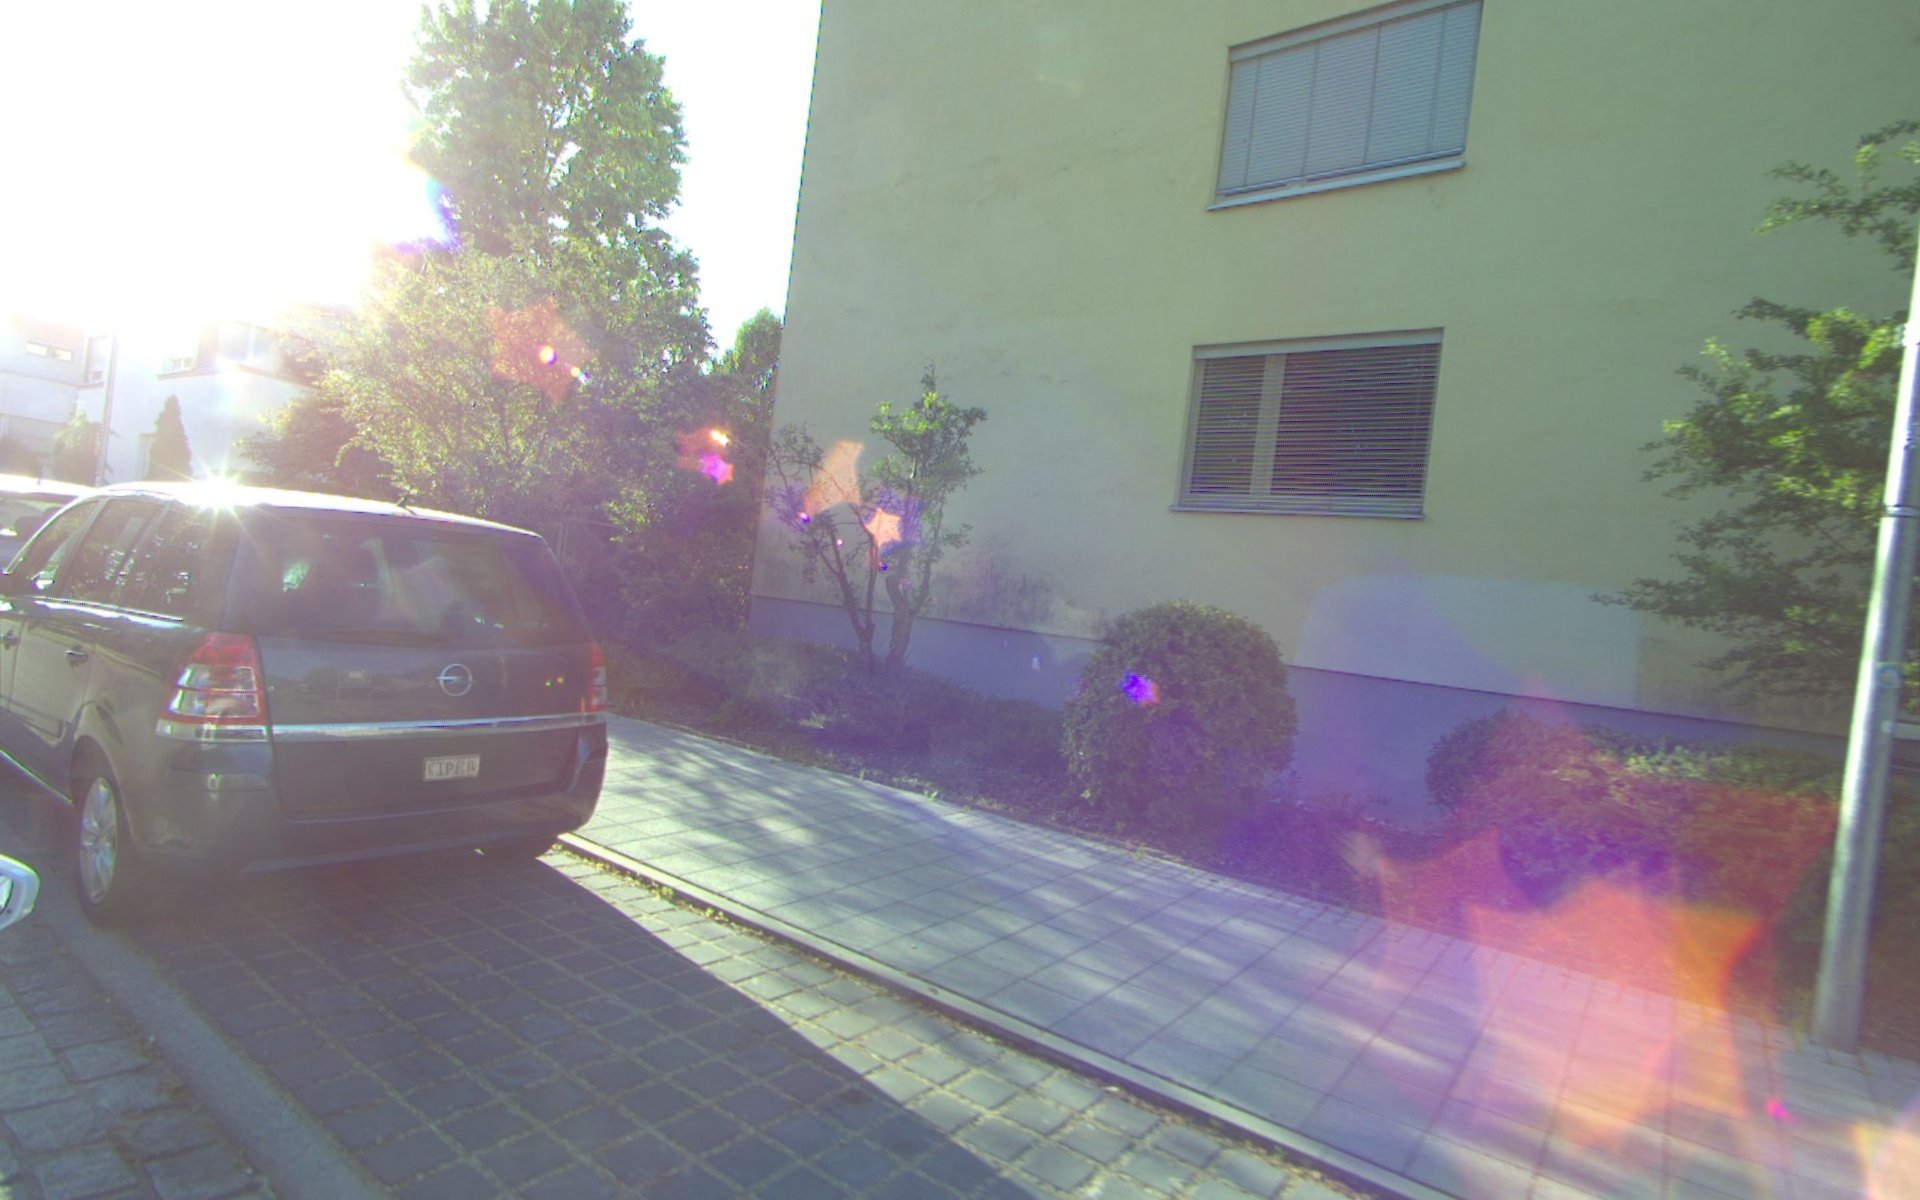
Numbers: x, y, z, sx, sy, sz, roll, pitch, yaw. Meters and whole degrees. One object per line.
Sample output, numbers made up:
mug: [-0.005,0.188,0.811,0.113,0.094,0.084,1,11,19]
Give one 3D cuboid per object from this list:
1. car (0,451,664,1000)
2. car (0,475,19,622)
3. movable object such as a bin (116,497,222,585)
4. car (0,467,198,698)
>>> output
car: [-3.506,0.241,4.890,4.103,1.632,1.709,7,2,36]
car: [-12.350,-0.779,11.479,4.068,1.575,1.677,7,1,38]
movable object such as a bin: [-14.907,-1.106,18.966,1.106,1.449,1.237,7,-1,38]
car: [-8.030,-0.282,8.243,4.080,1.575,1.678,7,1,36]
